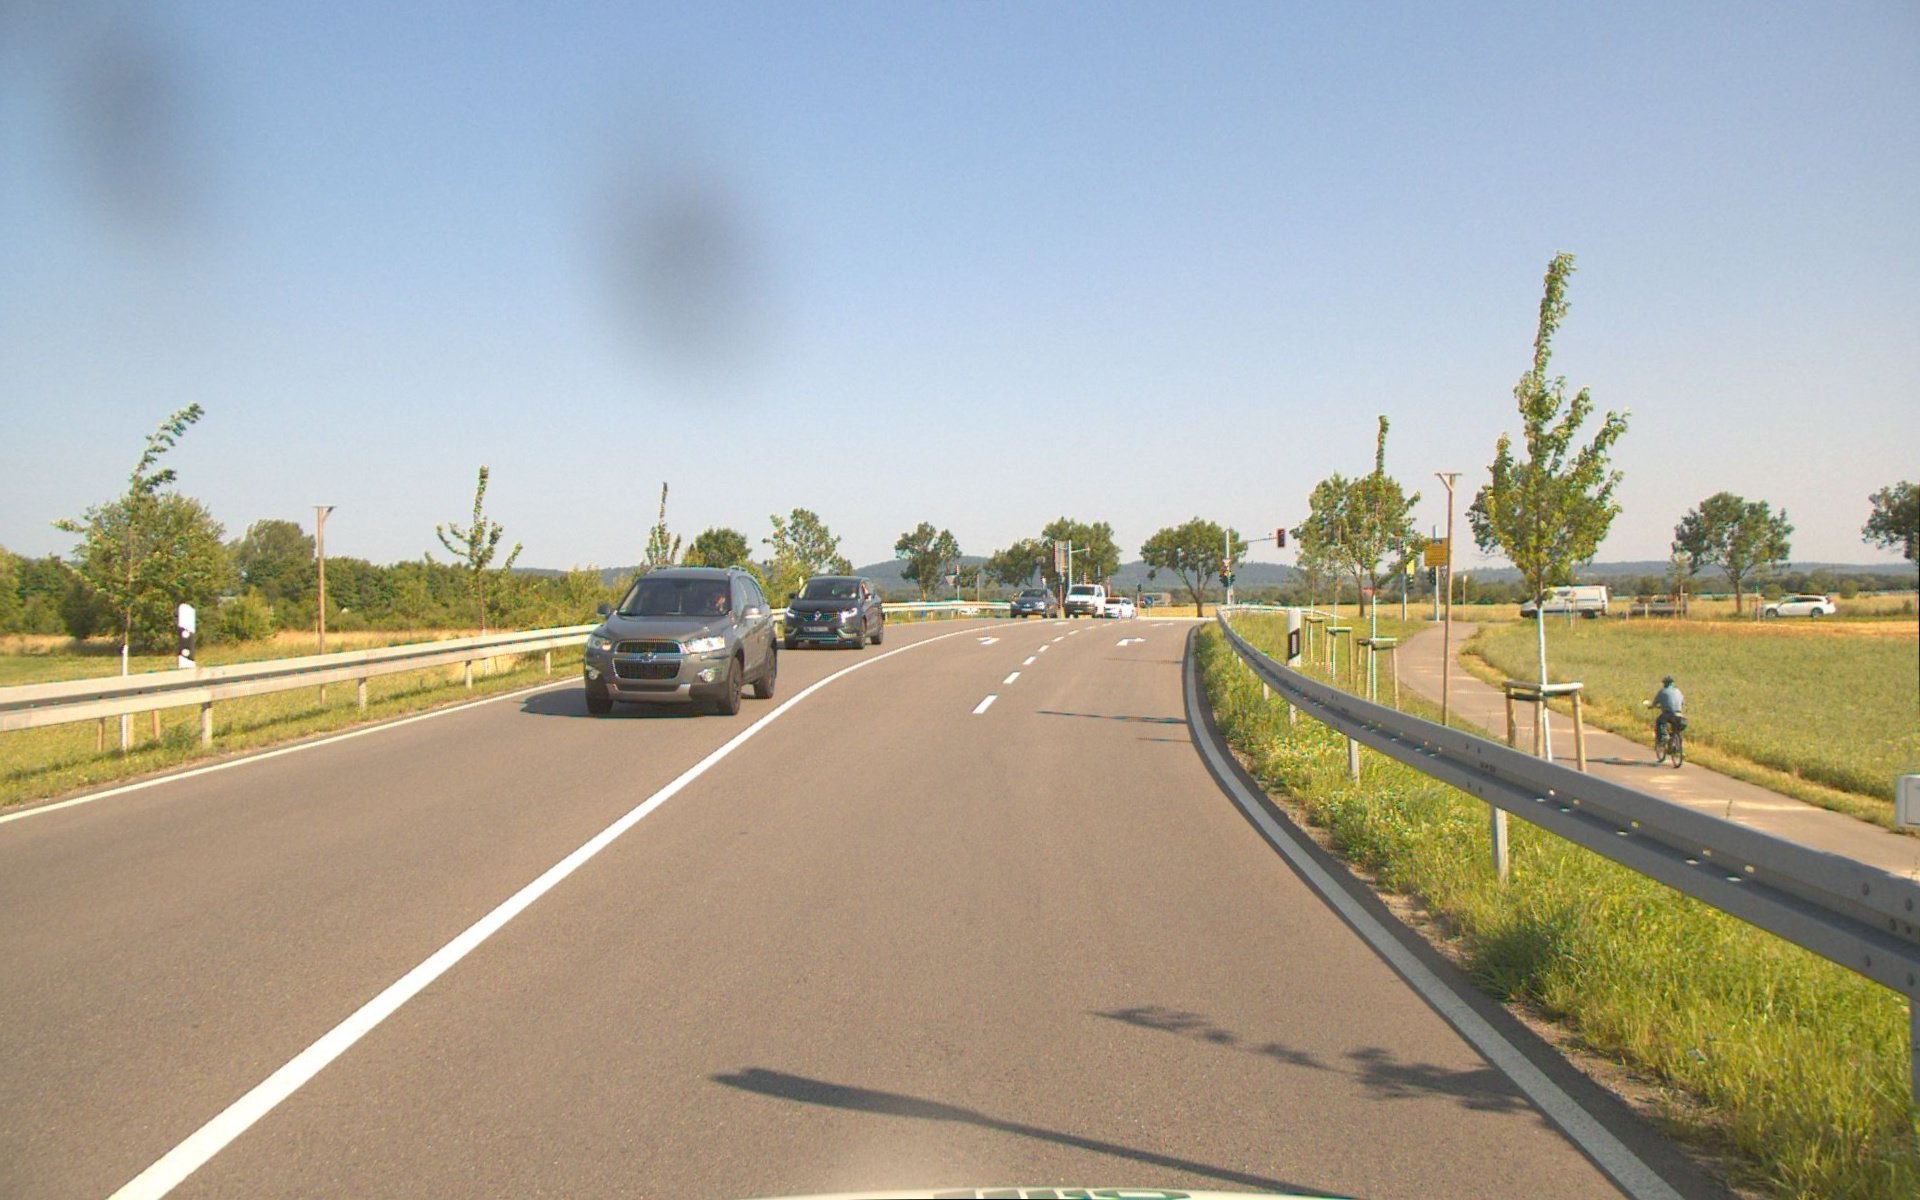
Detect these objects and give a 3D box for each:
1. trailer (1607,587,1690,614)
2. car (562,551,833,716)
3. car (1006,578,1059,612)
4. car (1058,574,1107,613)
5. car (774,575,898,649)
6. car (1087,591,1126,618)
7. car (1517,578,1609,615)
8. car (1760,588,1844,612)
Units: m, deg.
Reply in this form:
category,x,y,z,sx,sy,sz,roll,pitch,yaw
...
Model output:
category,x,y,z,sx,sy,sz,roll,pitch,yaw
trailer,47.141,0.044,113.227,5.156,1.784,1.952,-1,-1,25
car,-3.157,0.454,21.103,1.842,1.829,5.095,1,-2,10
car,3.596,-0.282,81.591,1.756,1.473,4.711,1,3,13
car,7.198,-0.436,96.748,2.070,2.048,5.159,1,3,13
car,-2.905,0.251,39.835,1.951,1.620,4.867,1,1,8
car,9.666,0.284,108.817,2.070,1.519,5.159,1,3,11
car,42.129,-0.255,115.603,5.839,2.536,1.998,1,-1,25
car,55.789,0.011,109.627,4.769,1.536,2.000,1,-1,22
